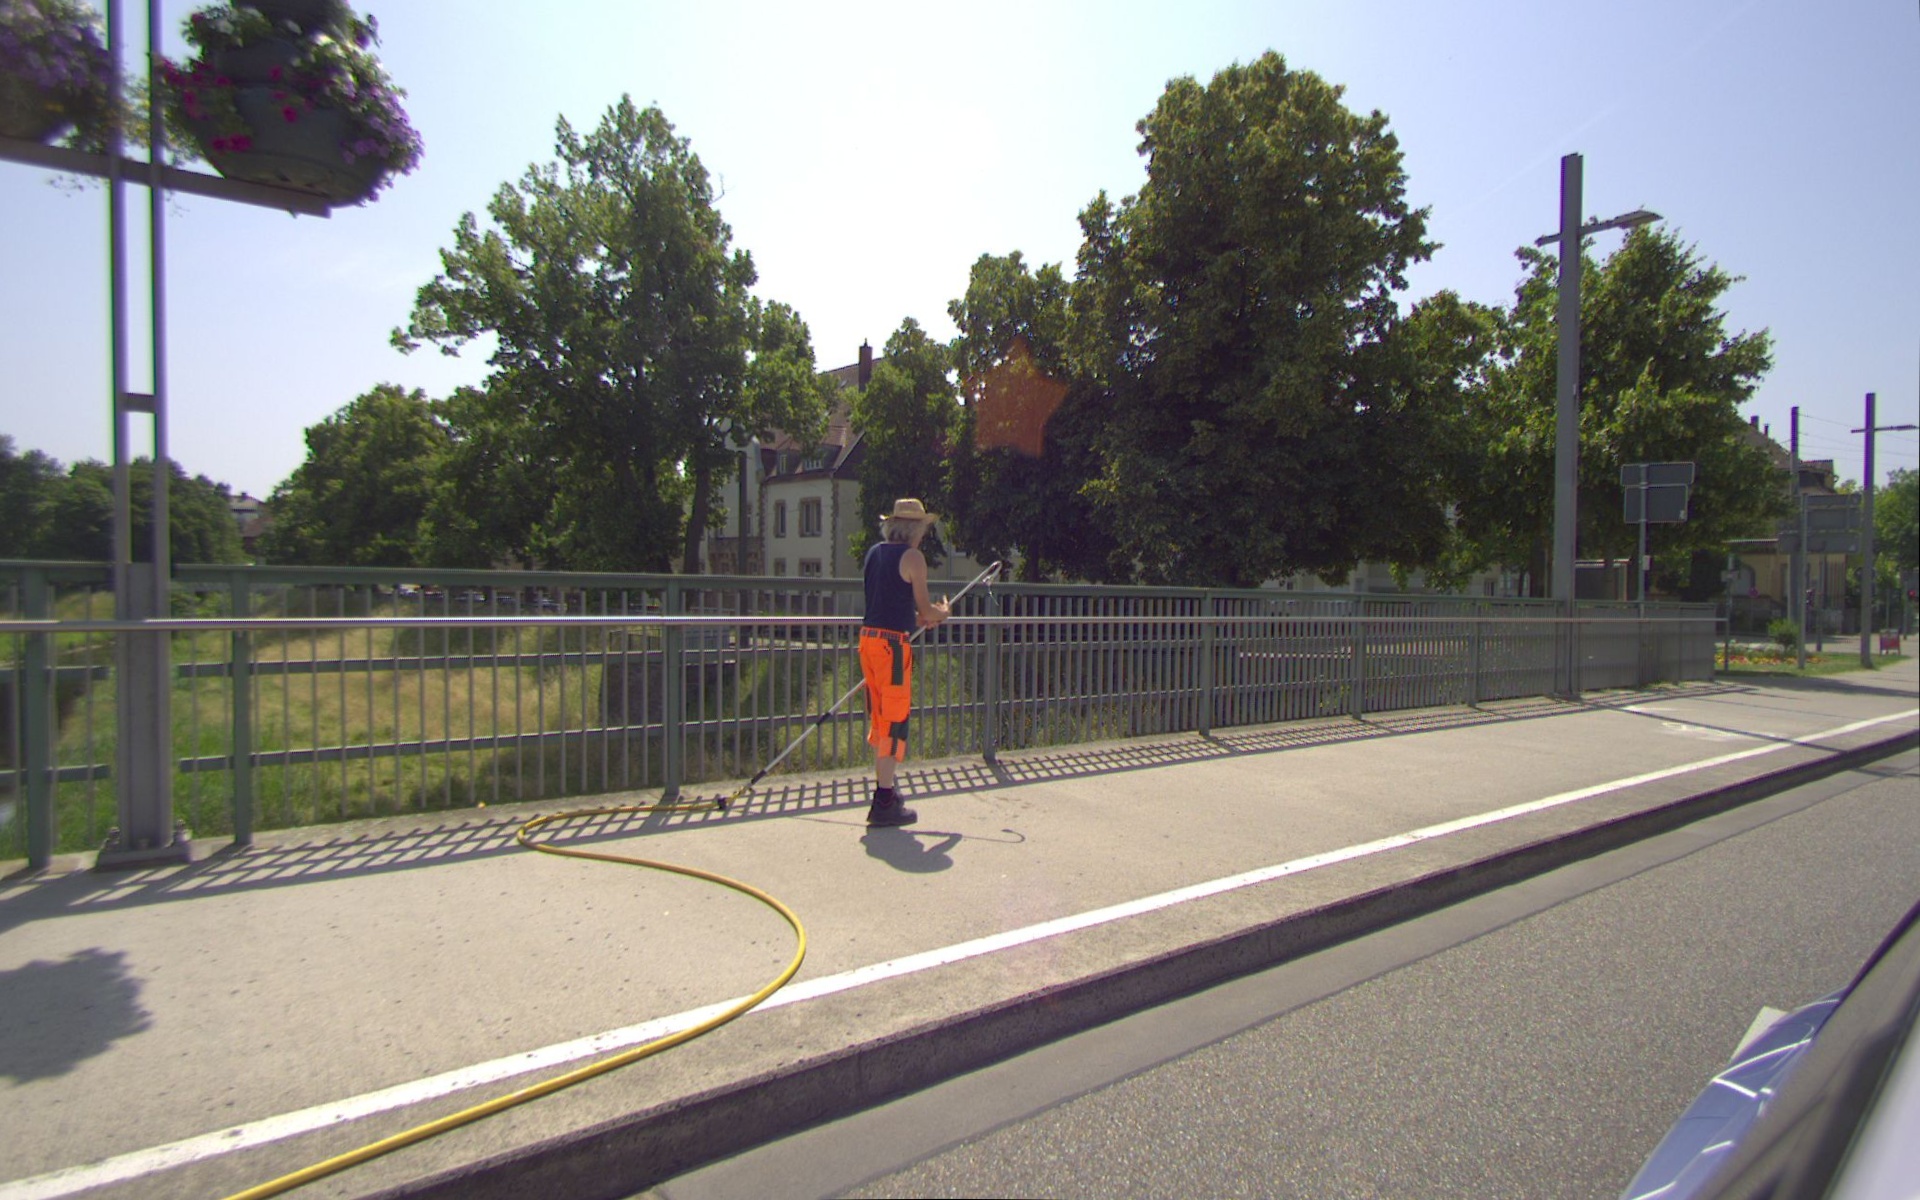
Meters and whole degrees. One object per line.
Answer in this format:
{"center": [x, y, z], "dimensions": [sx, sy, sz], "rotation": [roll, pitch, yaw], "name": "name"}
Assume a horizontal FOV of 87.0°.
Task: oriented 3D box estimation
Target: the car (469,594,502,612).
{"center": [-45.690, 0.301, 97.423], "dimensions": [1.796, 1.572, 4.125], "rotation": [0, -1, -40], "name": "car"}

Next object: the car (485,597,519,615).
{"center": [-42.279, 0.539, 93.377], "dimensions": [1.796, 1.572, 3.993], "rotation": [0, -2, -40], "name": "car"}

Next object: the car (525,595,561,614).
{"center": [-35.017, 0.372, 84.980], "dimensions": [1.563, 1.572, 3.740], "rotation": [0, -1, -43], "name": "car"}

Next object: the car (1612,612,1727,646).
{"center": [38.242, 1.547, 54.625], "dimensions": [4.732, 1.652, 1.916], "rotation": [-1, 1, 4], "name": "car"}

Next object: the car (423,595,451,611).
{"center": [-55.717, 0.336, 107.879], "dimensions": [1.796, 1.572, 3.993], "rotation": [0, -1, -40], "name": "car"}

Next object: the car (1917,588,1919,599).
{"center": [130.256, -0.784, 135.855], "dimensions": [1.607, 1.473, 3.672], "rotation": [5, 2, 28], "name": "car"}

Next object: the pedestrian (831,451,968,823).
{"center": [-0.354, 0.188, 5.741], "dimensions": [0.658, 1.984, 0.550], "rotation": [-1, 1, -17], "name": "pedestrian"}
